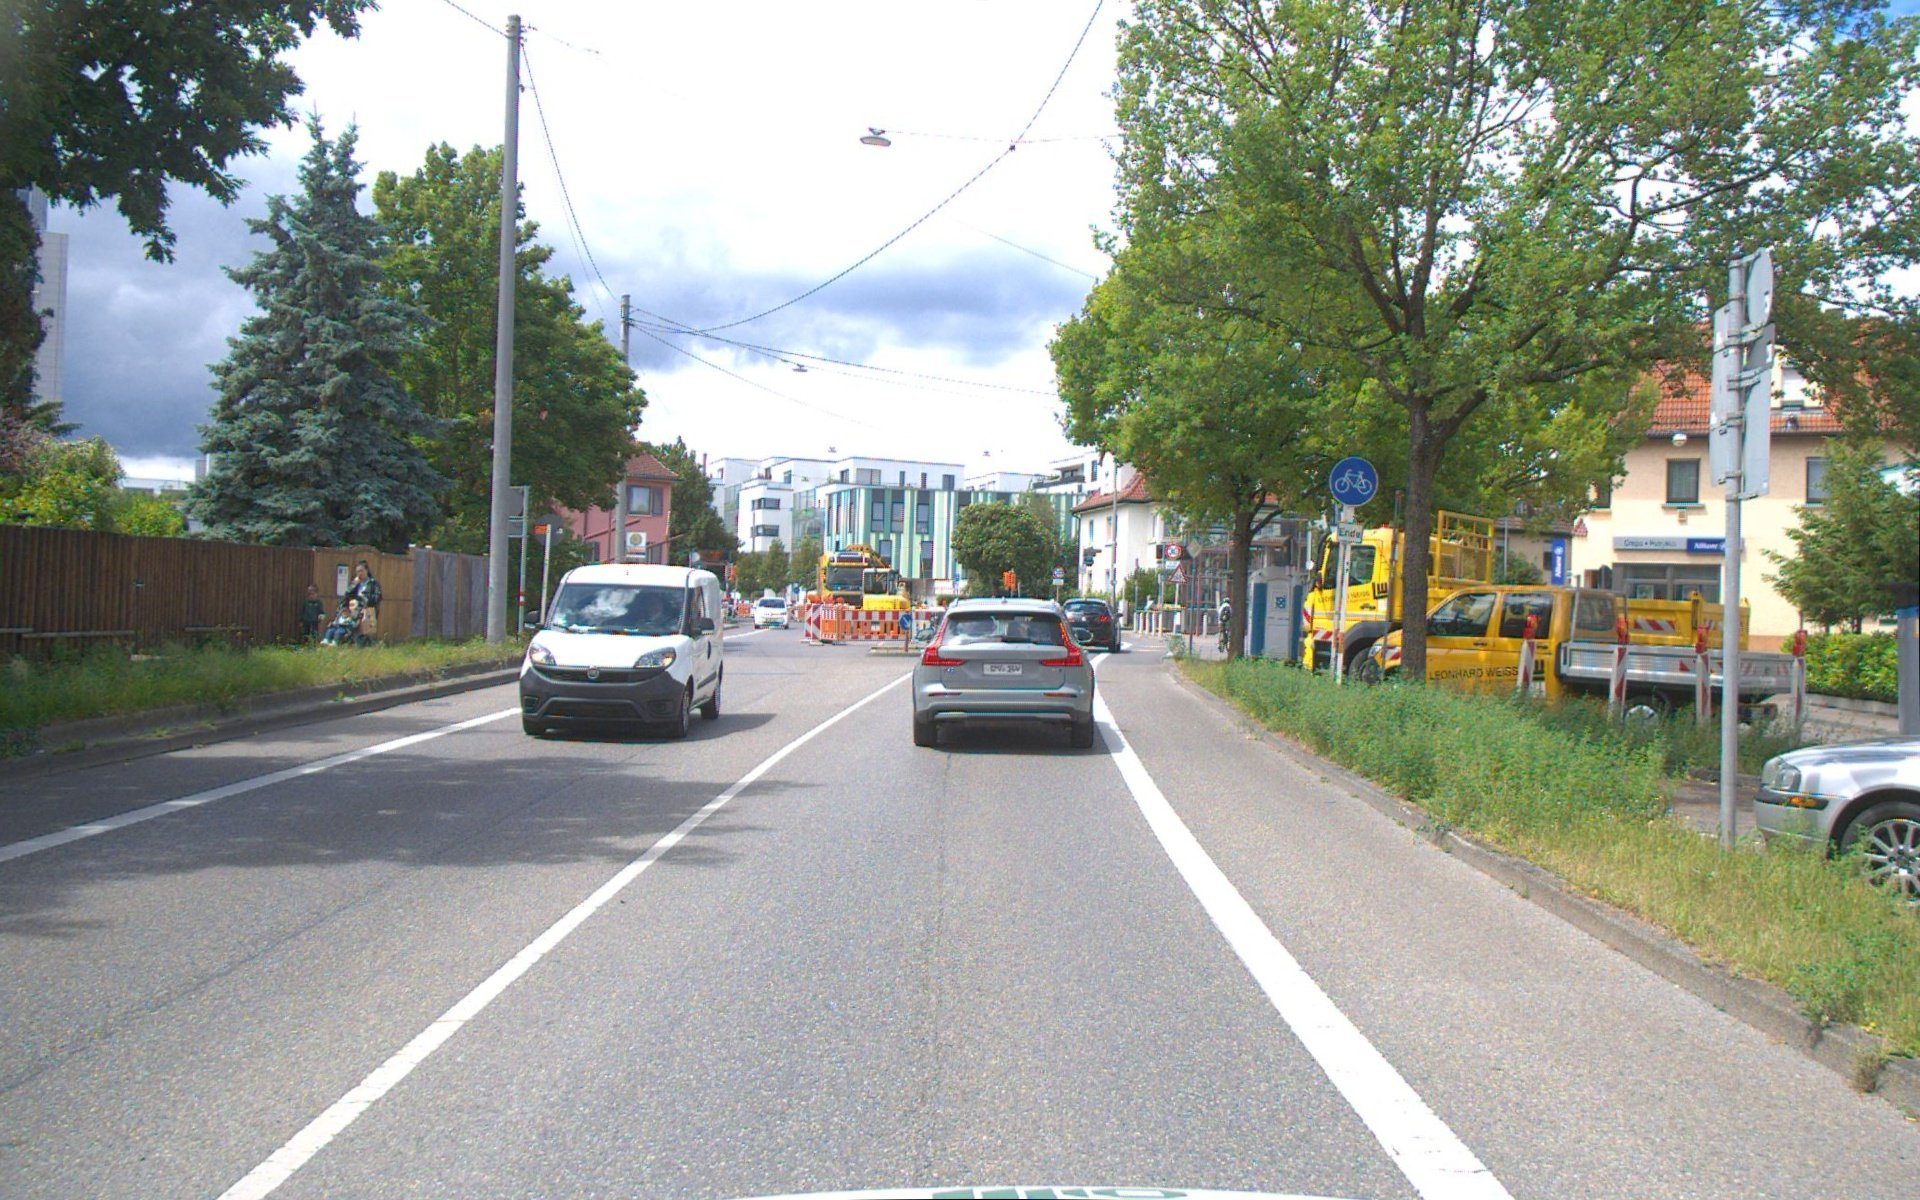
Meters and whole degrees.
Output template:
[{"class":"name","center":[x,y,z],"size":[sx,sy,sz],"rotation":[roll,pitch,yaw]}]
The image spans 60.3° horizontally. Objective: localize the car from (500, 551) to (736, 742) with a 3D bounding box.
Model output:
[{"class":"car","center":[-3.742,0.511,18.907],"size":[1.811,1.908,4.592],"rotation":[0,-1,-1]}]

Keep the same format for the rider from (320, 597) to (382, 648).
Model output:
[{"class":"rider","center":[-9.678,0.365,26.312],"size":[0.714,0.747,0.689],"rotation":[4,-2,-5]}]

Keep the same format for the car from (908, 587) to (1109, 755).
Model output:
[{"class":"car","center":[0.540,0.669,17.704],"size":[1.888,1.567,4.001],"rotation":[1,0,2]}]

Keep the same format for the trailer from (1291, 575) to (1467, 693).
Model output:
[{"class":"trailer","center":[8.289,0.661,33.283],"size":[2.339,2.067,5.514],"rotation":[3,0,3]}]

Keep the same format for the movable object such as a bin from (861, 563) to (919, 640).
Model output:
[{"class":"movable object such as a bin","center":[-2.623,0.045,61.963],"size":[1.994,2.689,5.936],"rotation":[1,0,-3]}]

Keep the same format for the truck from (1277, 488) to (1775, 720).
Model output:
[{"class":"truck","center":[8.491,0.008,25.385],"size":[6.594,3.060,2.751],"rotation":[3,-2,44]}]

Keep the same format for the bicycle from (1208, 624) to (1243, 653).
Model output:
[{"class":"bicycle","center":[8.192,1.187,51.065],"size":[0.583,0.826,1.752],"rotation":[4,-1,-5]}]

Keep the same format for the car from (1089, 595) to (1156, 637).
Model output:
[{"class":"car","center":[6.713,0.696,68.644],"size":[2.061,1.536,3.997],"rotation":[4,-1,-3]}]

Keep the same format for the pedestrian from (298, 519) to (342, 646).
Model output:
[{"class":"pedestrian","center":[-10.481,-0.285,27.100],"size":[0.394,2.049,0.414],"rotation":[4,-2,0]}]

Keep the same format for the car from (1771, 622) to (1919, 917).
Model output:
[{"class":"car","center":[6.678,0.973,8.010],"size":[4.611,1.477,1.756],"rotation":[3,0,45]}]

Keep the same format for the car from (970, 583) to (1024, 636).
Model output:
[{"class":"car","center":[1.637,0.450,71.923],"size":[1.952,2.049,4.002],"rotation":[4,-2,5]}]

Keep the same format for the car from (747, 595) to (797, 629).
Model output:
[{"class":"car","center":[-8.972,0.605,79.236],"size":[1.848,1.534,4.000],"rotation":[0,-2,1]}]

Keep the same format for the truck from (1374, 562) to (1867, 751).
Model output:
[{"class":"truck","center":[8.407,0.658,21.532],"size":[1.985,2.049,5.587],"rotation":[6,-2,-44]}]

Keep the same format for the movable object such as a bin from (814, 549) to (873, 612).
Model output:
[{"class":"movable object such as a bin","center":[-6.044,-0.974,85.009],"size":[2.269,3.042,6.410],"rotation":[1,0,-10]}]

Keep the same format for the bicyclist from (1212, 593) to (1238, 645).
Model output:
[{"class":"bicyclist","center":[8.217,0.590,51.239],"size":[0.577,1.586,0.566],"rotation":[4,-2,-5]}]
